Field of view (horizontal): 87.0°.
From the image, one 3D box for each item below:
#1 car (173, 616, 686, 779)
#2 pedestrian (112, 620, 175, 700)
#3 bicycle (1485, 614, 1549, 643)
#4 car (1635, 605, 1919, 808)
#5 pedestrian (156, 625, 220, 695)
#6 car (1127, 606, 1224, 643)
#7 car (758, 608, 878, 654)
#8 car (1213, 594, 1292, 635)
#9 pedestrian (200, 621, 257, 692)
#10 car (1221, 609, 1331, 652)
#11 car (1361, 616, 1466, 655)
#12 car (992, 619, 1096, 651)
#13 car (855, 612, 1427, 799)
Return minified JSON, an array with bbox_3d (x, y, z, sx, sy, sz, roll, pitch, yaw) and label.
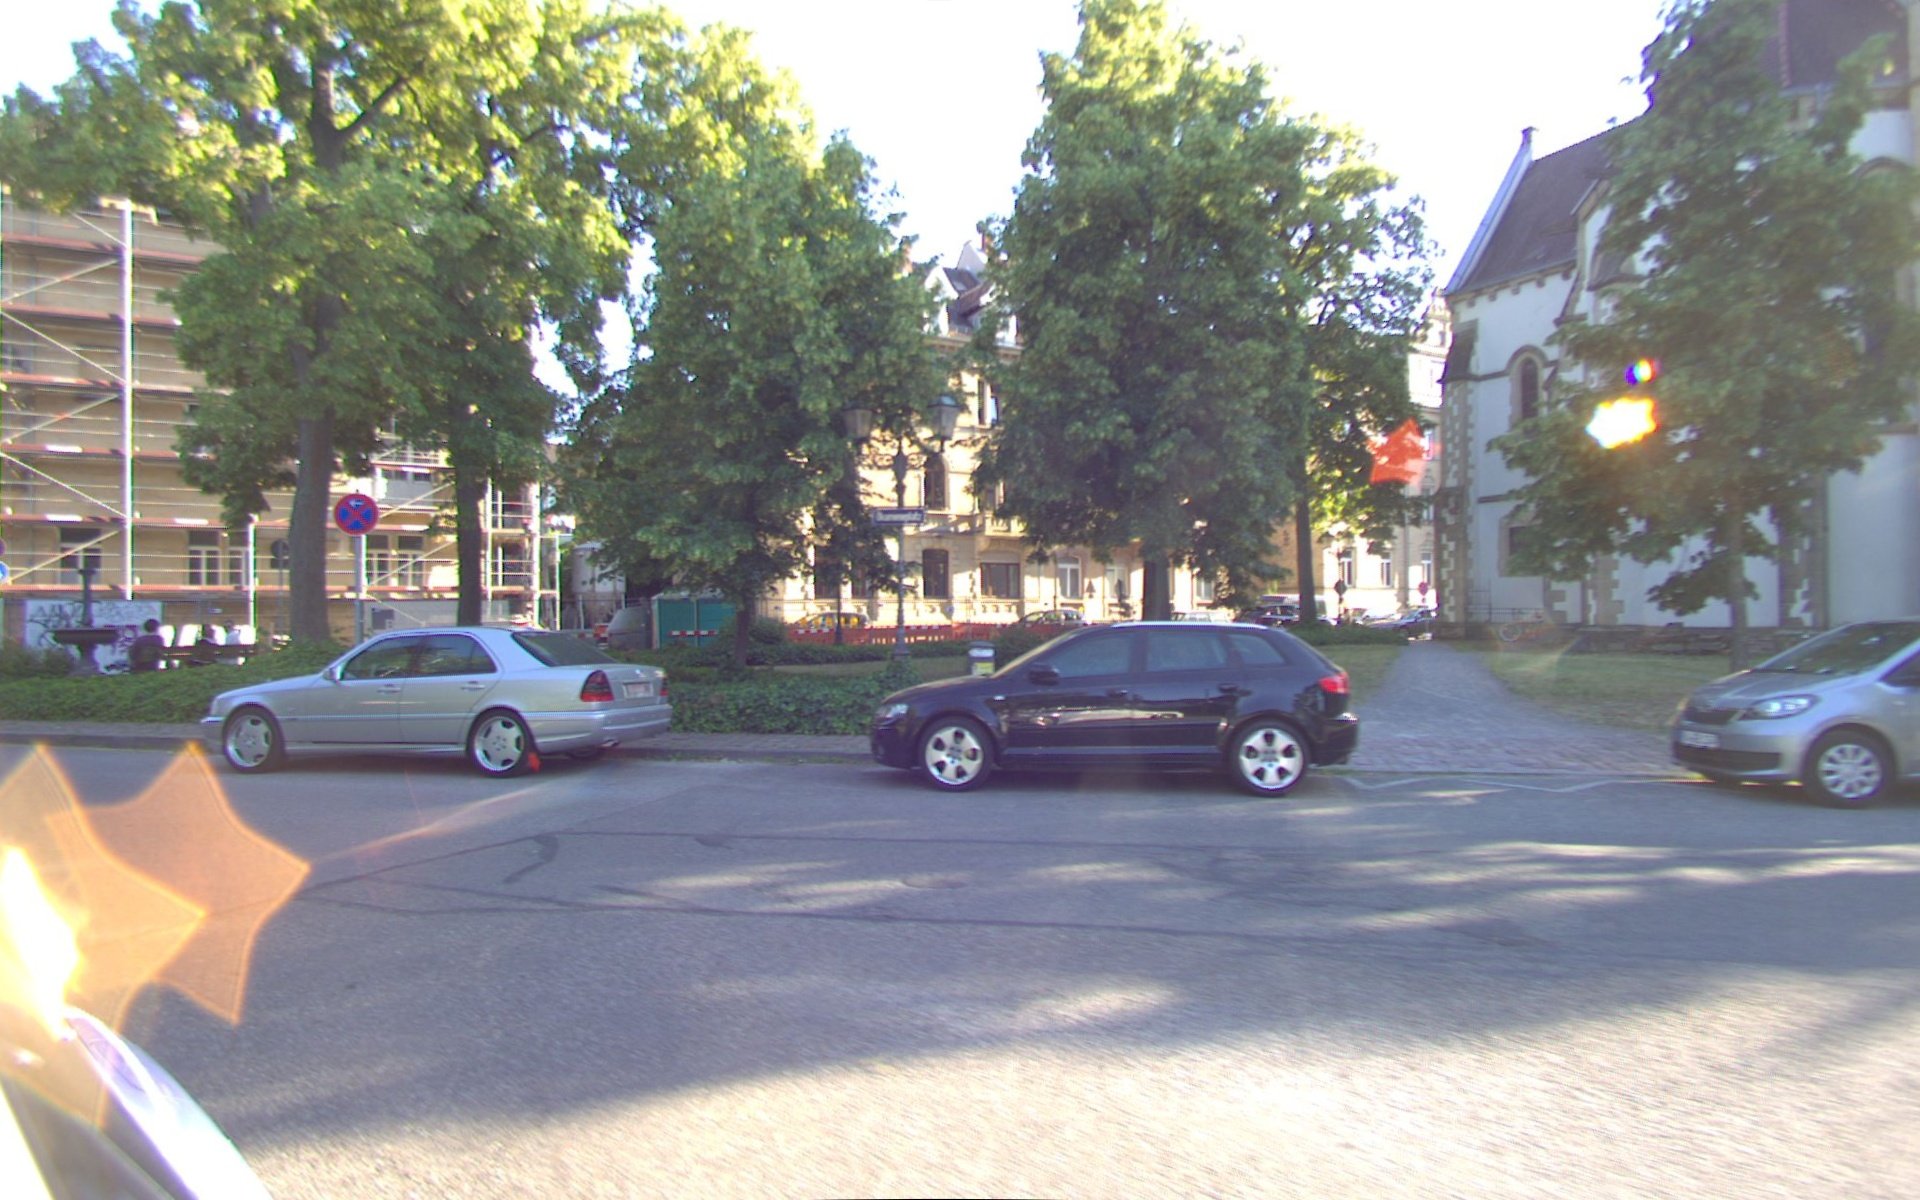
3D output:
[{"bbox_3d":[-5.223,0.932,10.198,4.450,1.426,1.779,-1,-3,11],"label":"car"},{"bbox_3d":[-13.715,1.000,16.999,0.761,1.308,0.548,-1,-1,24],"label":"pedestrian"},{"bbox_3d":[17.925,0.907,32.601,0.416,0.925,1.890,0,0,-26],"label":"bicycle"},{"bbox_3d":[7.701,0.785,7.957,3.563,1.451,1.613,-1,-2,8],"label":"car"},{"bbox_3d":[-13.563,1.043,17.792,0.879,1.204,0.548,-1,-1,24],"label":"pedestrian"},{"bbox_3d":[10.163,1.117,47.699,4.148,1.668,2.006,0,-1,-29],"label":"car"},{"bbox_3d":[-5.433,1.148,38.739,4.148,1.668,1.918,0,-1,-29],"label":"car"},{"bbox_3d":[16.731,0.829,57.996,1.859,2.279,4.233,0,-1,-29],"label":"car"},{"bbox_3d":[-13.204,1.006,18.274,0.720,1.242,0.548,-1,-1,24],"label":"pedestrian"},{"bbox_3d":[12.751,1.198,40.795,4.148,1.668,1.897,0,-1,-30],"label":"car"},{"bbox_3d":[20.157,1.547,44.986,4.147,1.668,1.898,0,-1,-23],"label":"car"},{"bbox_3d":[3.695,1.491,44.207,4.148,1.287,1.918,0,-1,-29],"label":"car"},{"bbox_3d":[1.451,0.877,8.938,4.442,1.426,1.826,-1,-3,8],"label":"car"}]
